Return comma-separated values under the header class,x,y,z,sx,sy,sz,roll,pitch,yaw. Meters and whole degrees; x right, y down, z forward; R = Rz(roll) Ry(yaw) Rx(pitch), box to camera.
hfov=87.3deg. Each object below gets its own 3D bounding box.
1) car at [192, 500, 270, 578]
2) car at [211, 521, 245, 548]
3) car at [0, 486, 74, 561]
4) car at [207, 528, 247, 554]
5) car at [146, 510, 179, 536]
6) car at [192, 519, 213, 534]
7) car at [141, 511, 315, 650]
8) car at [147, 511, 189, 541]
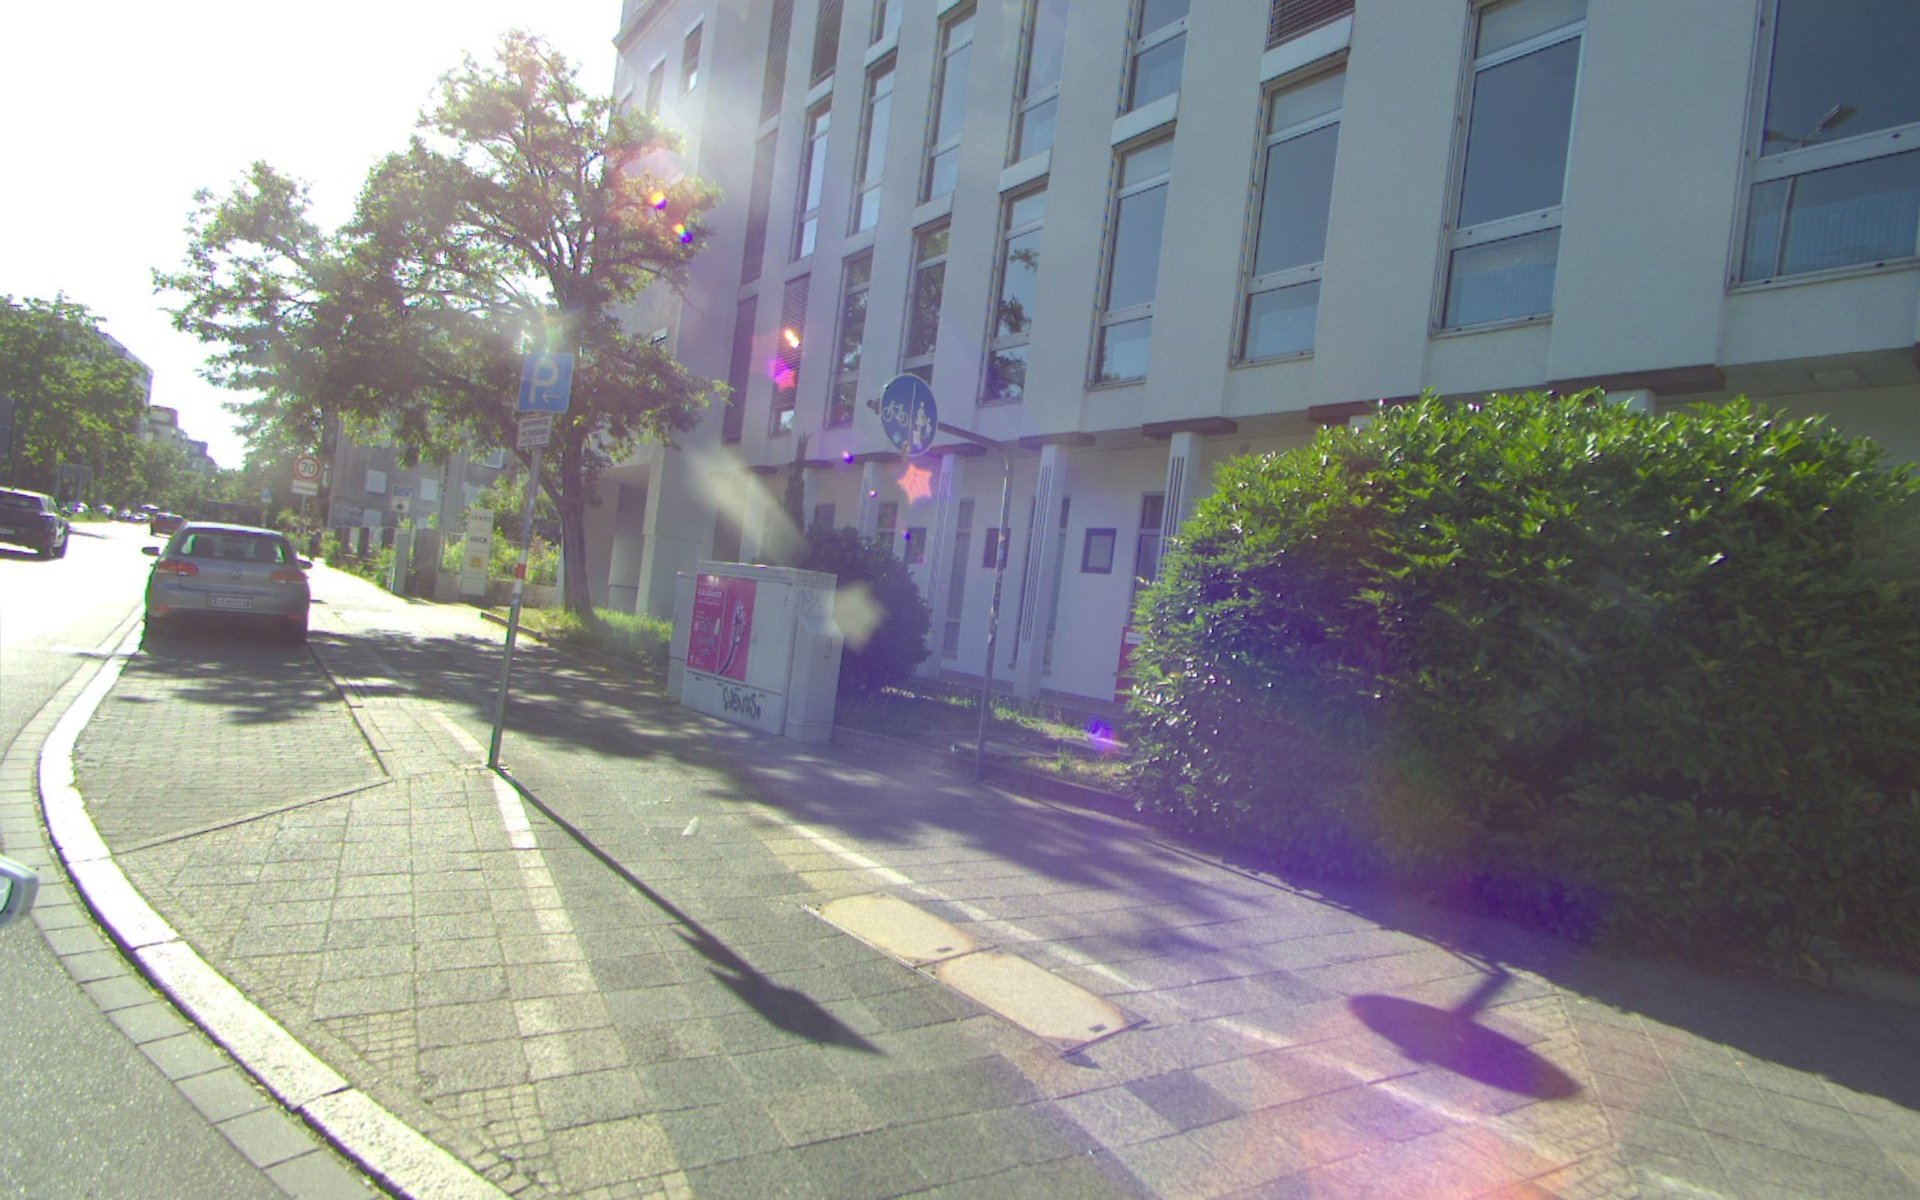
class,x,y,z,sx,sy,sz,roll,pitch,yaw
car,-22.251,-1.852,30.700,1.651,2.038,4.729,6,0,-37
car,-45.939,-4.097,63.108,1.598,1.465,3.621,4,2,-37
car,-23.099,-1.939,24.523,1.888,1.536,3.957,10,-3,-39
car,-40.134,-3.255,55.051,1.658,1.198,3.860,4,2,-38
car,-67.570,-6.525,85.322,1.952,1.904,3.958,8,-1,-38
car,-96.689,-9.411,128.445,1.910,1.660,3.960,7,-1,-37
car,-10.288,-0.349,14.195,1.629,1.466,4.112,7,1,-36
car,-50.109,-4.710,63.723,1.784,1.538,3.810,9,-1,-37
